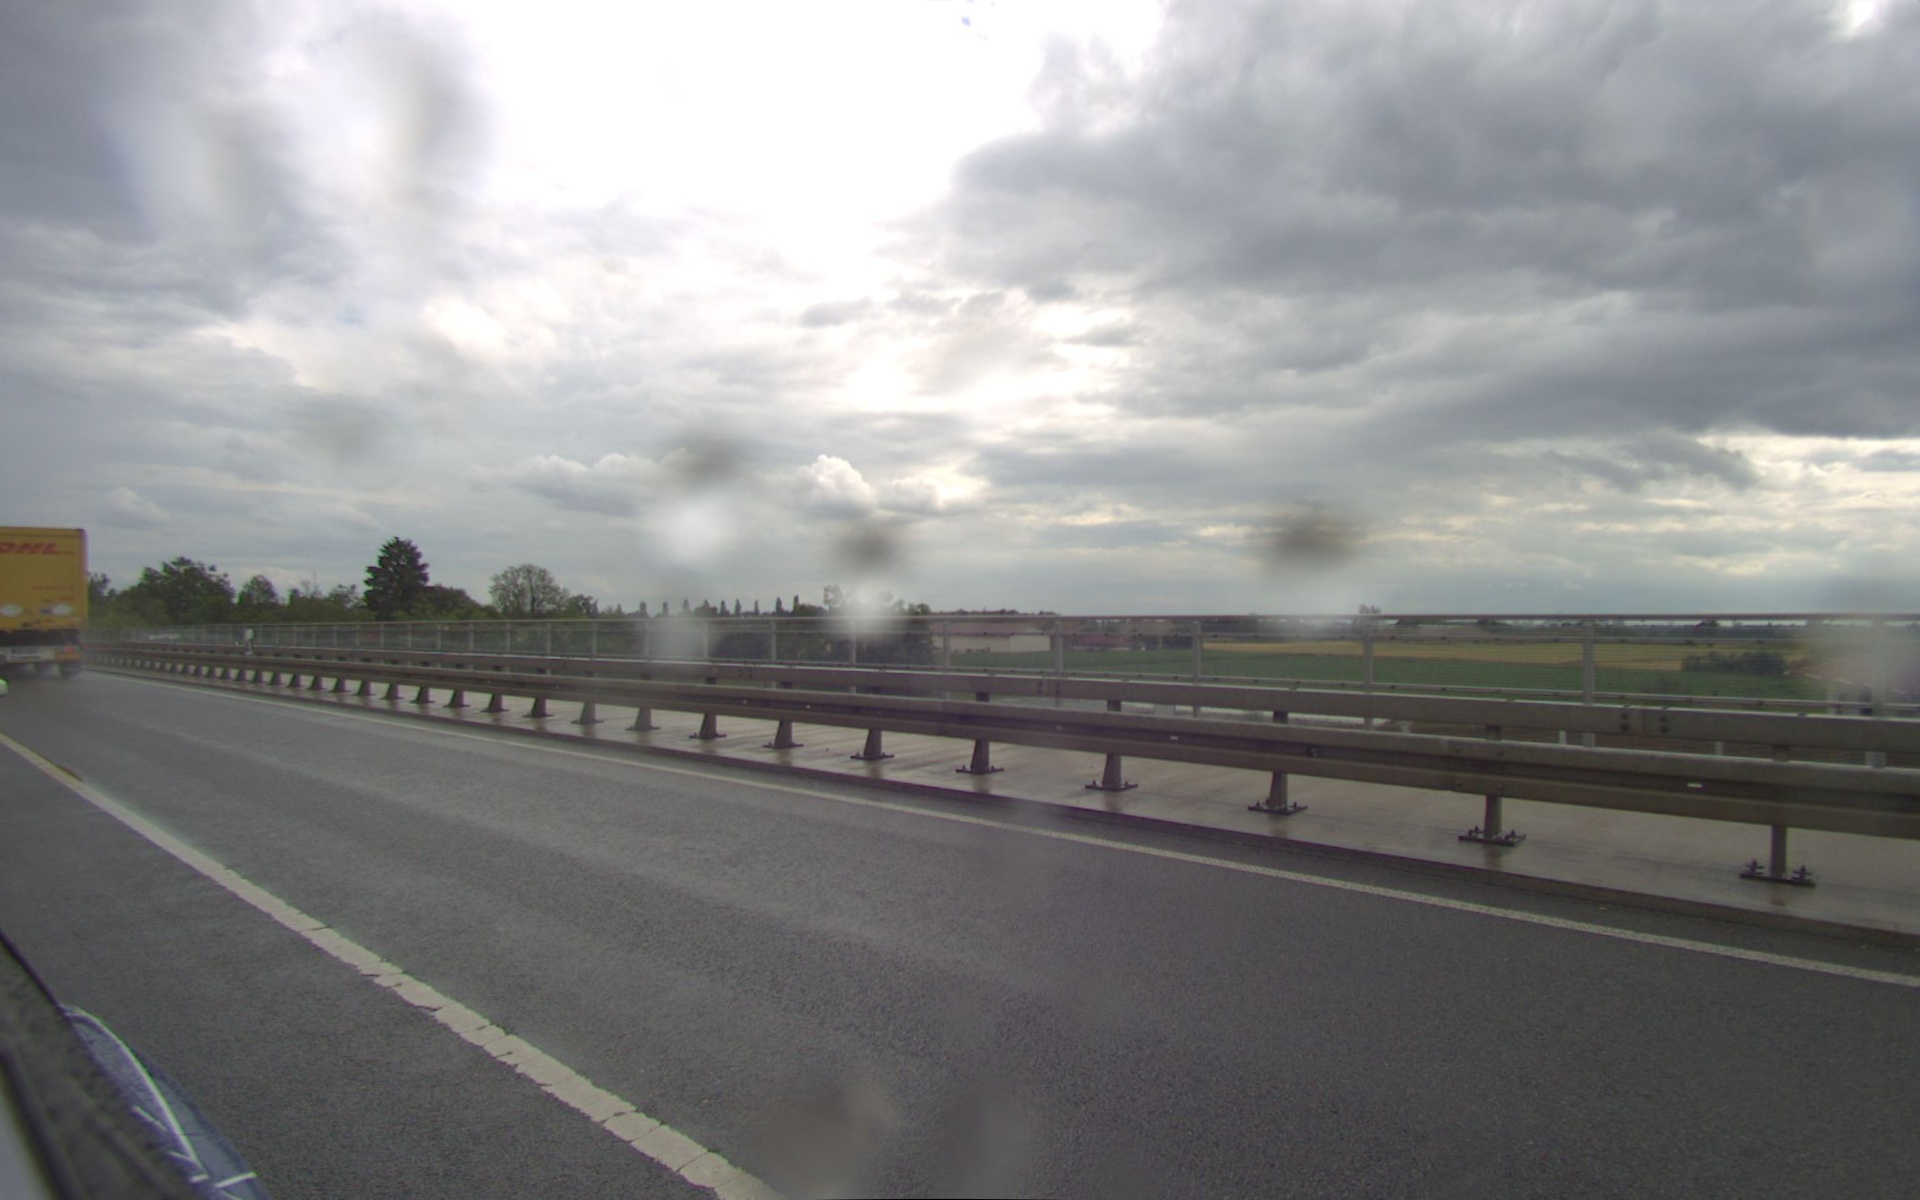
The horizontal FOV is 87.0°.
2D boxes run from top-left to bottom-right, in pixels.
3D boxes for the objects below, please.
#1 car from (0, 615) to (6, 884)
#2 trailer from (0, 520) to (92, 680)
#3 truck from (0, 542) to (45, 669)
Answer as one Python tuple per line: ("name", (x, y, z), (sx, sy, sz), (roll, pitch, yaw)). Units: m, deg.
("car", (-7.413, 0.868, 6.366), (4.127, 1.496, 1.653), (-1, 0, 41))
("trailer", (-27.543, 0.079, 29.235), (8.482, 4.106, 2.654), (-2, -1, 42))
("truck", (-34.459, 0.268, 35.370), (10.051, 4.047, 2.654), (-2, -1, 42))
